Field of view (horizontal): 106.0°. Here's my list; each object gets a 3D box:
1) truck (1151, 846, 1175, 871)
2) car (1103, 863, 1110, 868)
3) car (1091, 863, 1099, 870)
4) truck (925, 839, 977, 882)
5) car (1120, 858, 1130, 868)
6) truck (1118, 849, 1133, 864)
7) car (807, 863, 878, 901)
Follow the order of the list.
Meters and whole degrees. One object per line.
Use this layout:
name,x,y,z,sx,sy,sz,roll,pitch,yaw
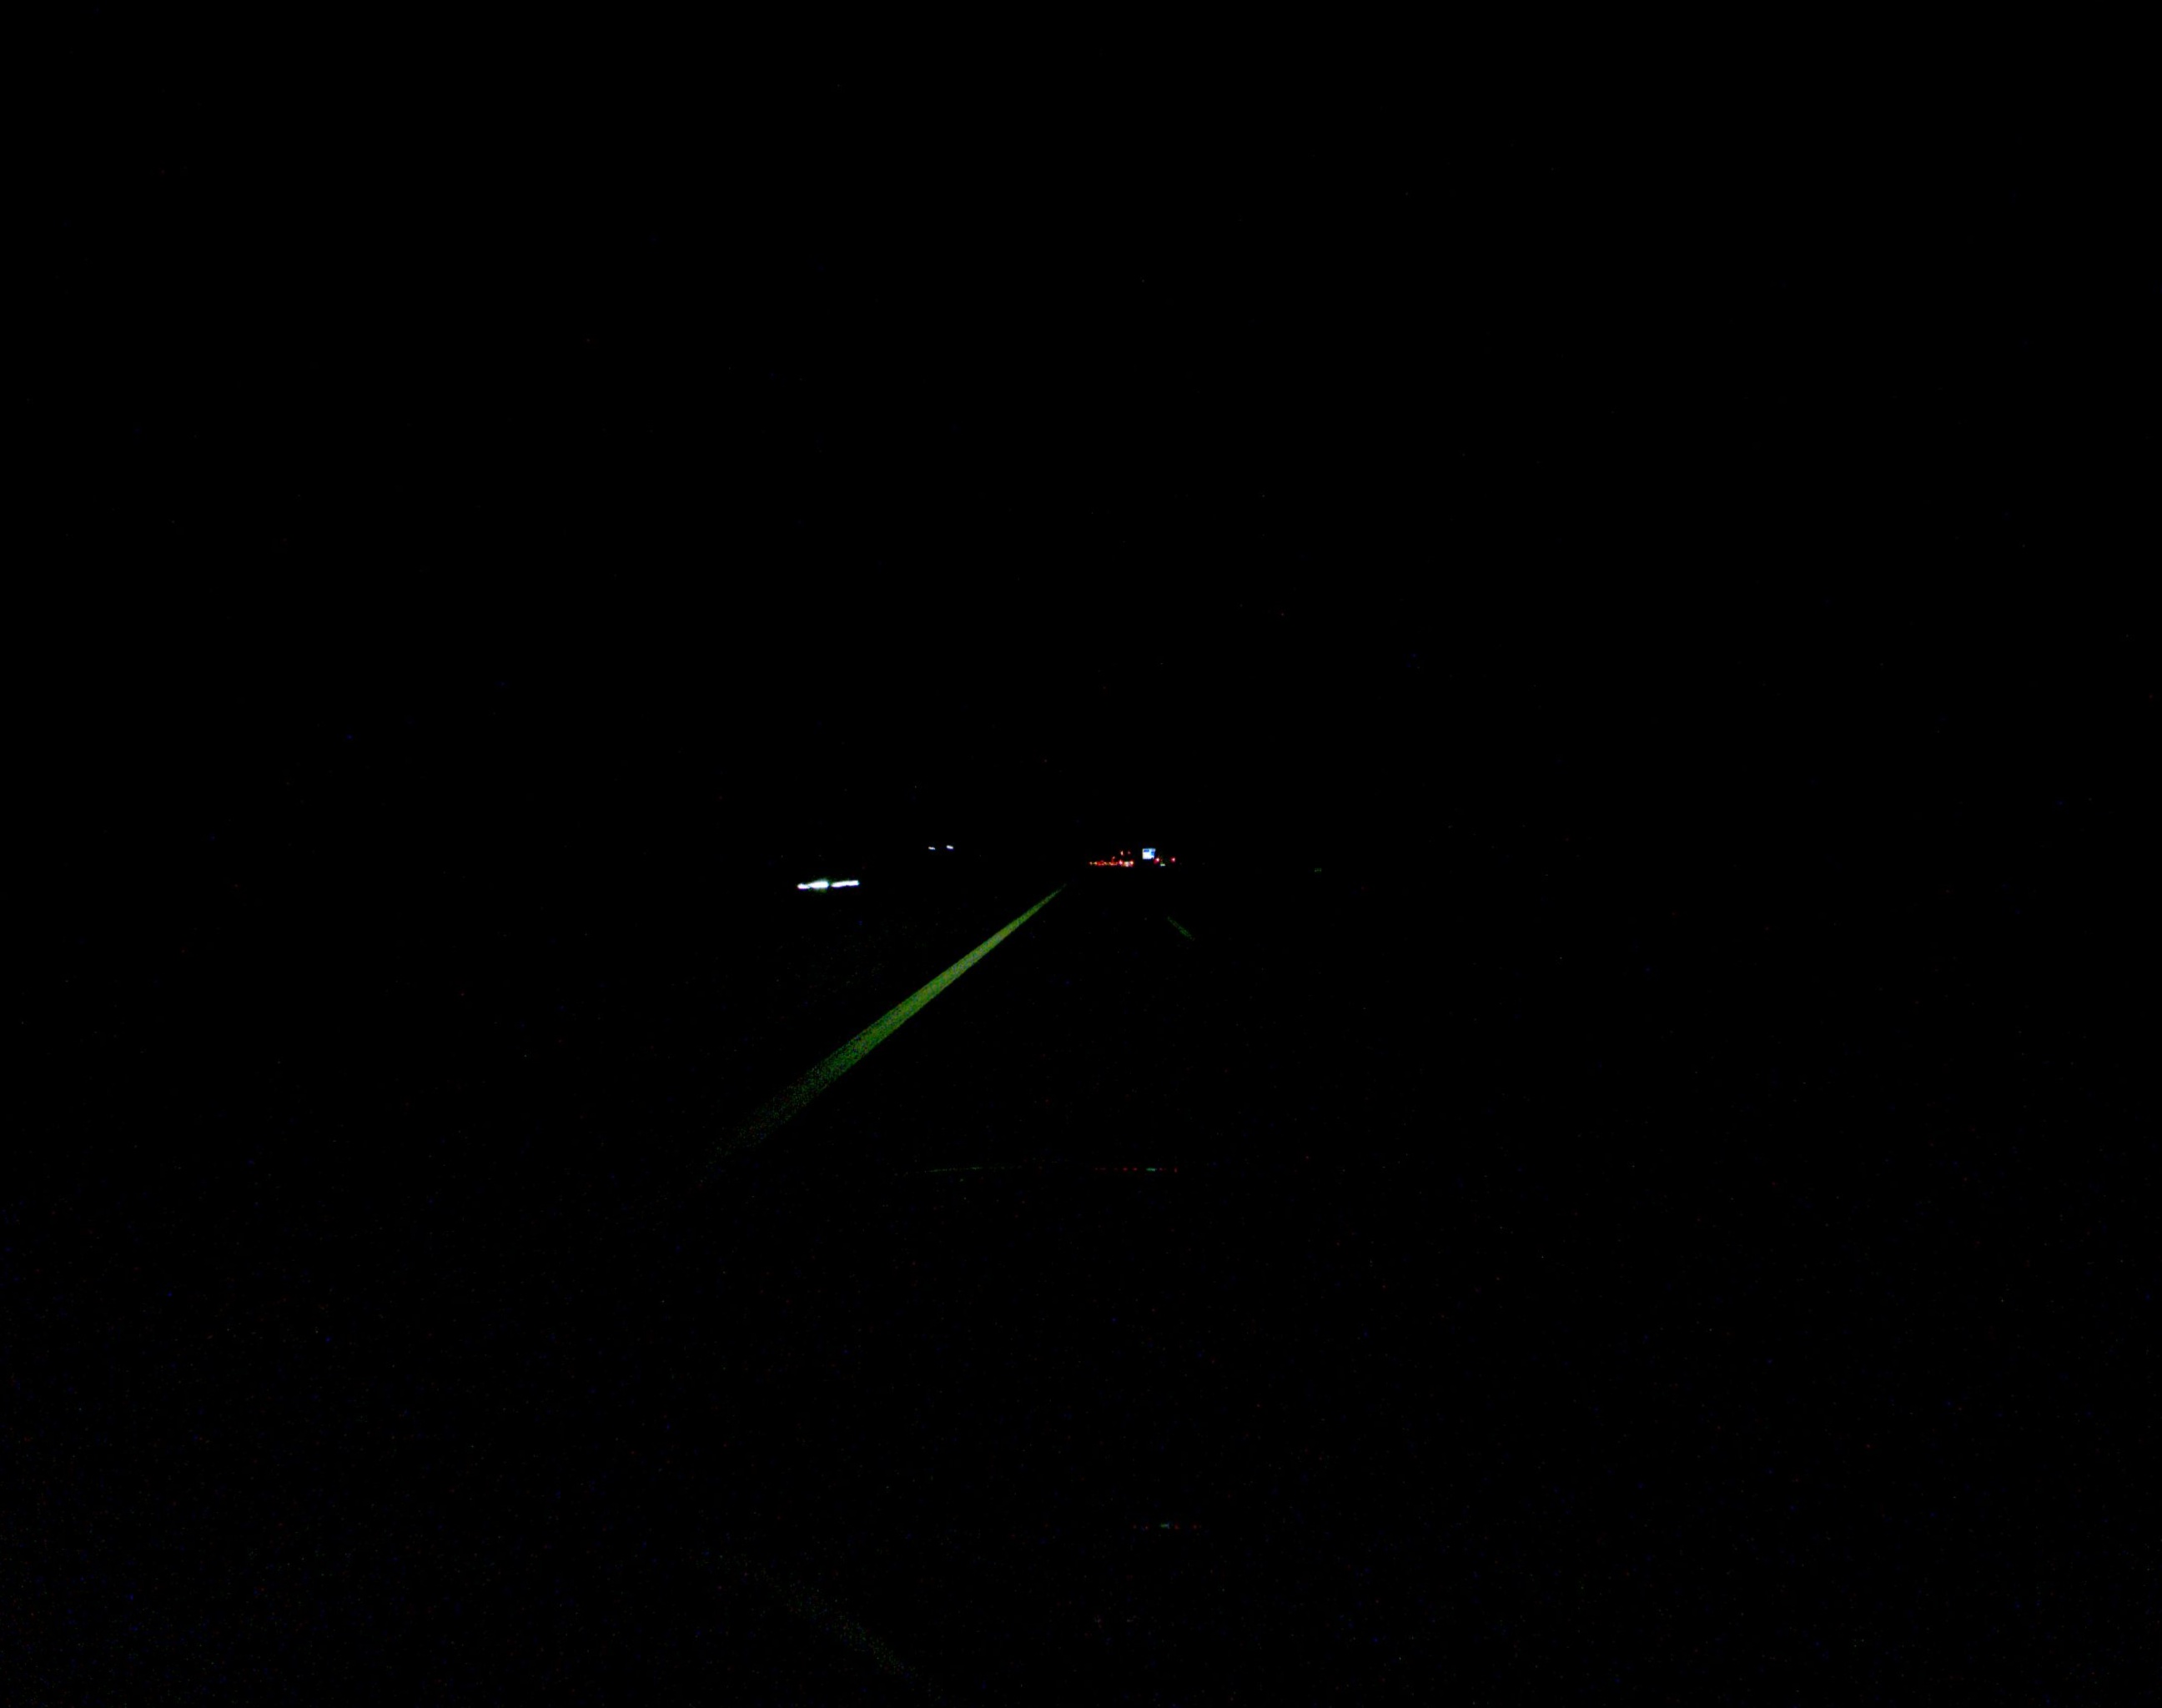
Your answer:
truck,9.471,0.592,94.316,2.070,2.691,7.305,0,-2,0
car,6.866,3.096,220.073,1.814,1.466,4.249,0,0,2
car,3.565,3.150,206.736,1.814,1.466,4.249,0,0,2
truck,-14.282,0.629,91.121,3.104,4.202,16.970,-3,0,-1
car,6.233,1.267,114.775,1.341,1.387,3.503,0,0,2
truck,9.945,0.557,183.993,3.033,3.324,10.145,0,0,2
car,-10.980,1.256,37.875,1.744,1.478,4.753,-3,0,1
